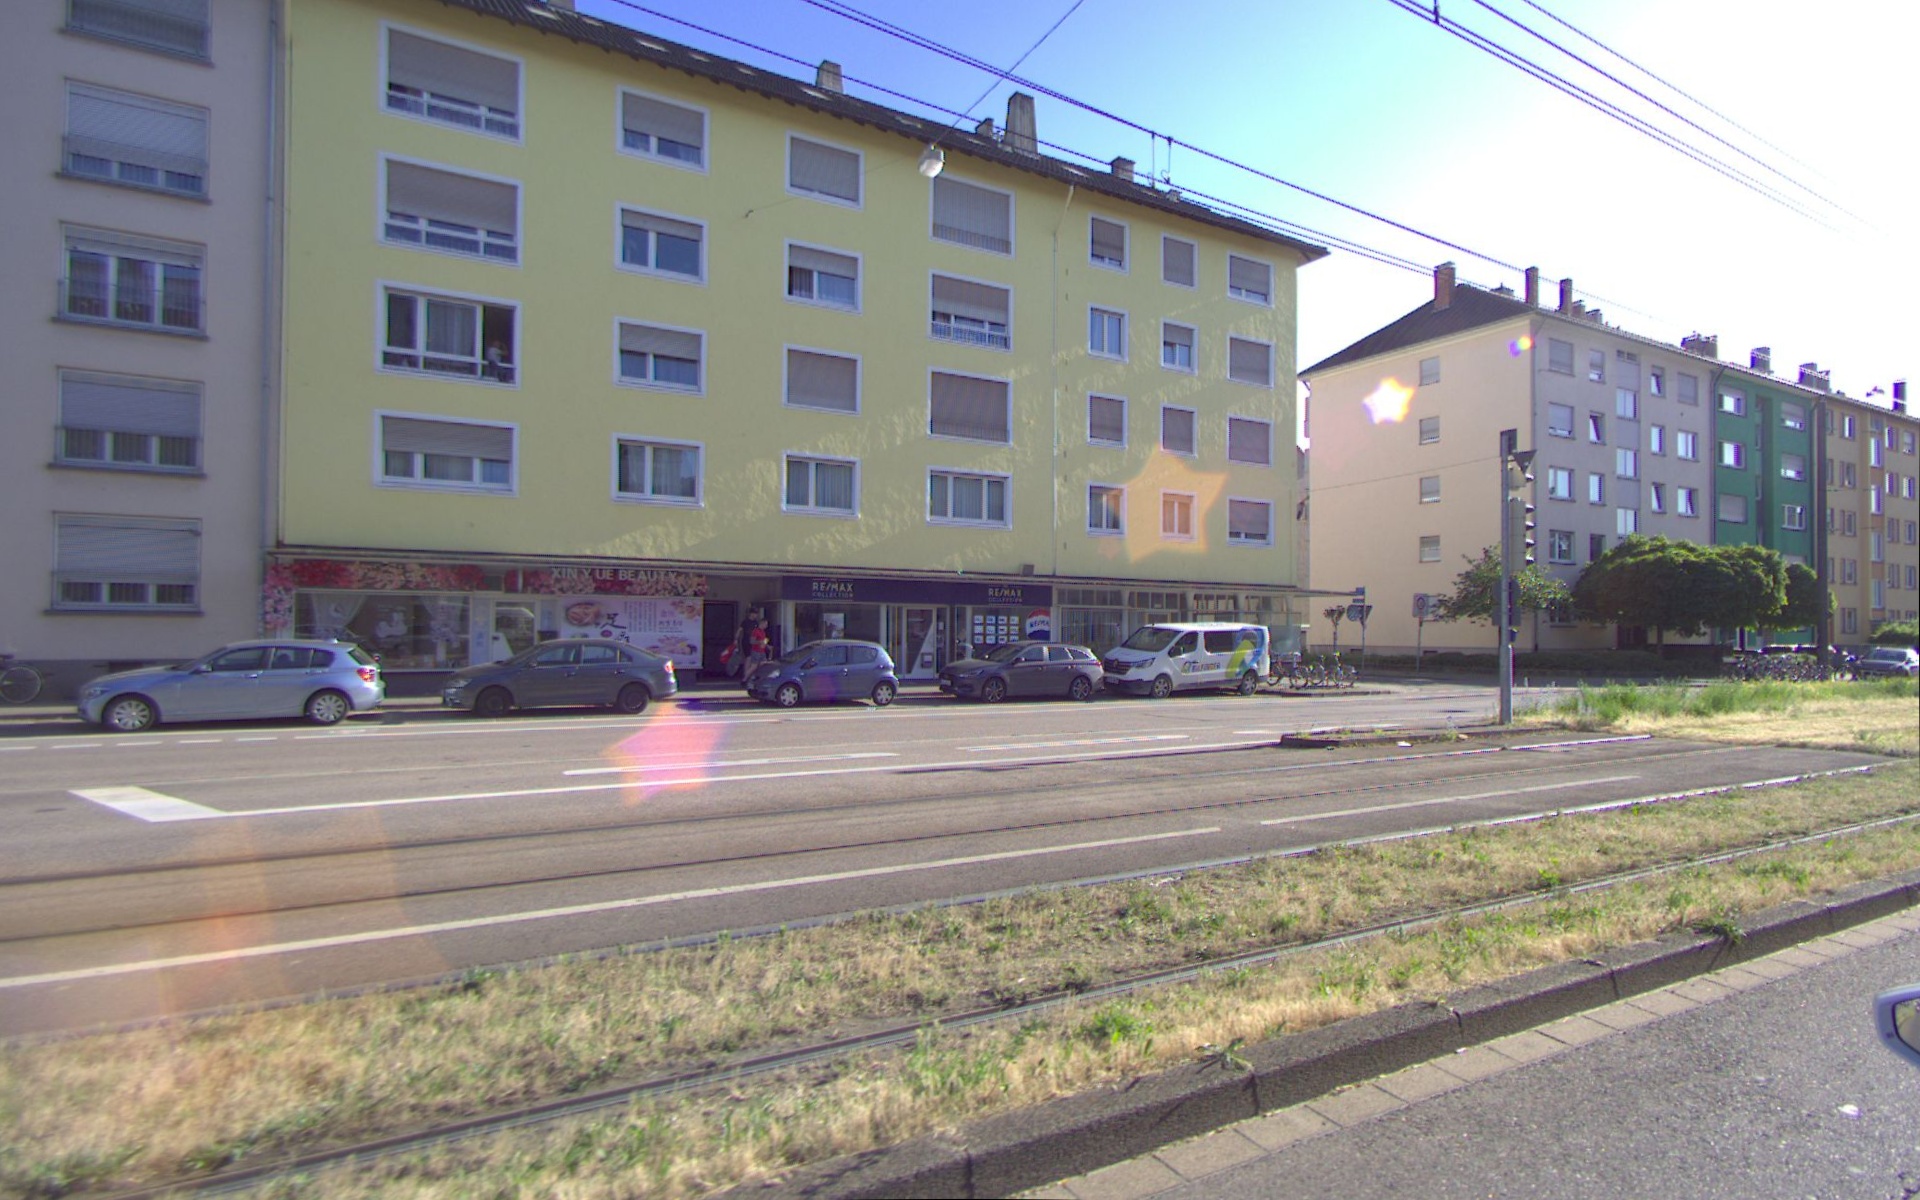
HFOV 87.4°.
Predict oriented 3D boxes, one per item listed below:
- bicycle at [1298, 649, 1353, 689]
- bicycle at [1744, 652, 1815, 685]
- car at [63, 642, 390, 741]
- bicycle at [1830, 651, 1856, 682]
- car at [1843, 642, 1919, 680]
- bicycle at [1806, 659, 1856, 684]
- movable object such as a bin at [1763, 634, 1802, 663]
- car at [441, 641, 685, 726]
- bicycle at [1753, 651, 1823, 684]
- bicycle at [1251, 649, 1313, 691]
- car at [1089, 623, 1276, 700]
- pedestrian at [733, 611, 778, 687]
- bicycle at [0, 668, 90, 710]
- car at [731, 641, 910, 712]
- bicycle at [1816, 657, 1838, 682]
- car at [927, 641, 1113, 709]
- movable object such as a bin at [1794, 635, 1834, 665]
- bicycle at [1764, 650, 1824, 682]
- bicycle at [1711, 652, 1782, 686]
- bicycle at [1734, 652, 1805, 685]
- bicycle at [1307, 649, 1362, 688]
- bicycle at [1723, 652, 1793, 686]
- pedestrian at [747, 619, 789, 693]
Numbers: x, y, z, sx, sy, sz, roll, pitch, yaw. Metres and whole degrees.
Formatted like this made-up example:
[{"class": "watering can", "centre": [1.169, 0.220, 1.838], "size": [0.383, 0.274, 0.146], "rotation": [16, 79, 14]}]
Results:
[{"class": "bicycle", "centre": [11.588, 2.186, 31.912], "size": [0.386, 1.120, 1.811], "rotation": [1, 1, -28]}, {"class": "bicycle", "centre": [31.567, 2.633, 38.729], "size": [0.607, 1.107, 2.043], "rotation": [1, 1, -23]}, {"class": "car", "centre": [-12.423, 1.487, 17.405], "size": [4.366, 1.403, 1.773], "rotation": [1, 1, -32]}, {"class": "bicycle", "centre": [34.610, 2.600, 39.351], "size": [1.921, 1.107, 0.505], "rotation": [1, 1, -42]}, {"class": "car", "centre": [39.072, 2.545, 42.450], "size": [3.693, 1.461, 1.626], "rotation": [1, 0, -32]}, {"class": "bicycle", "centre": [34.123, 2.793, 39.362], "size": [0.410, 0.881, 1.585], "rotation": [1, 1, -7]}, {"class": "movable object such as a bin", "centre": [40.742, 2.385, 49.780], "size": [1.026, 1.386, 1.142], "rotation": [1, 0, -27]}, {"class": "car", "centre": [-7.952, 1.602, 20.237], "size": [4.363, 1.439, 1.774], "rotation": [1, 1, -30]}, {"class": "bicycle", "centre": [32.176, 2.604, 39.068], "size": [0.607, 1.107, 2.043], "rotation": [1, 1, -23]}, {"class": "bicycle", "centre": [9.962, 2.145, 31.148], "size": [0.467, 1.120, 2.088], "rotation": [1, 1, -28]}, {"class": "car", "centre": [6.430, 1.685, 28.802], "size": [5.441, 1.975, 1.982], "rotation": [1, 1, -33]}, {"class": "pedestrian", "centre": [-5.198, 1.226, 25.524], "size": [0.913, 1.885, 0.668], "rotation": [1, 1, -30]}, {"class": "bicycle", "centre": [-17.505, 1.651, 18.632], "size": [1.972, 0.702, 0.599], "rotation": [1, 1, -30]}, {"class": "car", "centre": [-3.208, 1.712, 23.255], "size": [3.724, 1.403, 1.774], "rotation": [1, 1, -30]}, {"class": "bicycle", "centre": [34.253, 2.737, 39.673], "size": [2.039, 0.877, 0.373], "rotation": [1, 1, -42]}, {"class": "car", "centre": [1.574, 1.866, 25.798], "size": [4.542, 1.494, 1.774], "rotation": [1, 1, -30]}, {"class": "movable object such as a bin", "centre": [41.322, 2.406, 48.626], "size": [1.026, 1.386, 1.142], "rotation": [1, 0, -27]}, {"class": "bicycle", "centre": [33.202, 2.621, 40.012], "size": [0.603, 1.107, 2.054], "rotation": [1, 0, -2]}, {"class": "bicycle", "centre": [29.584, 2.585, 37.826], "size": [0.607, 1.107, 2.043], "rotation": [1, 1, -23]}, {"class": "bicycle", "centre": [30.917, 2.612, 38.409], "size": [0.607, 1.107, 2.043], "rotation": [1, 1, -23]}, {"class": "bicycle", "centre": [11.946, 2.172, 32.116], "size": [0.386, 1.120, 1.811], "rotation": [1, 1, -28]}, {"class": "bicycle", "centre": [30.264, 2.599, 38.129], "size": [0.607, 1.107, 2.043], "rotation": [1, 1, -23]}, {"class": "pedestrian", "centre": [-4.769, 1.375, 24.957], "size": [0.835, 1.767, 0.668], "rotation": [1, 1, -30]}]
